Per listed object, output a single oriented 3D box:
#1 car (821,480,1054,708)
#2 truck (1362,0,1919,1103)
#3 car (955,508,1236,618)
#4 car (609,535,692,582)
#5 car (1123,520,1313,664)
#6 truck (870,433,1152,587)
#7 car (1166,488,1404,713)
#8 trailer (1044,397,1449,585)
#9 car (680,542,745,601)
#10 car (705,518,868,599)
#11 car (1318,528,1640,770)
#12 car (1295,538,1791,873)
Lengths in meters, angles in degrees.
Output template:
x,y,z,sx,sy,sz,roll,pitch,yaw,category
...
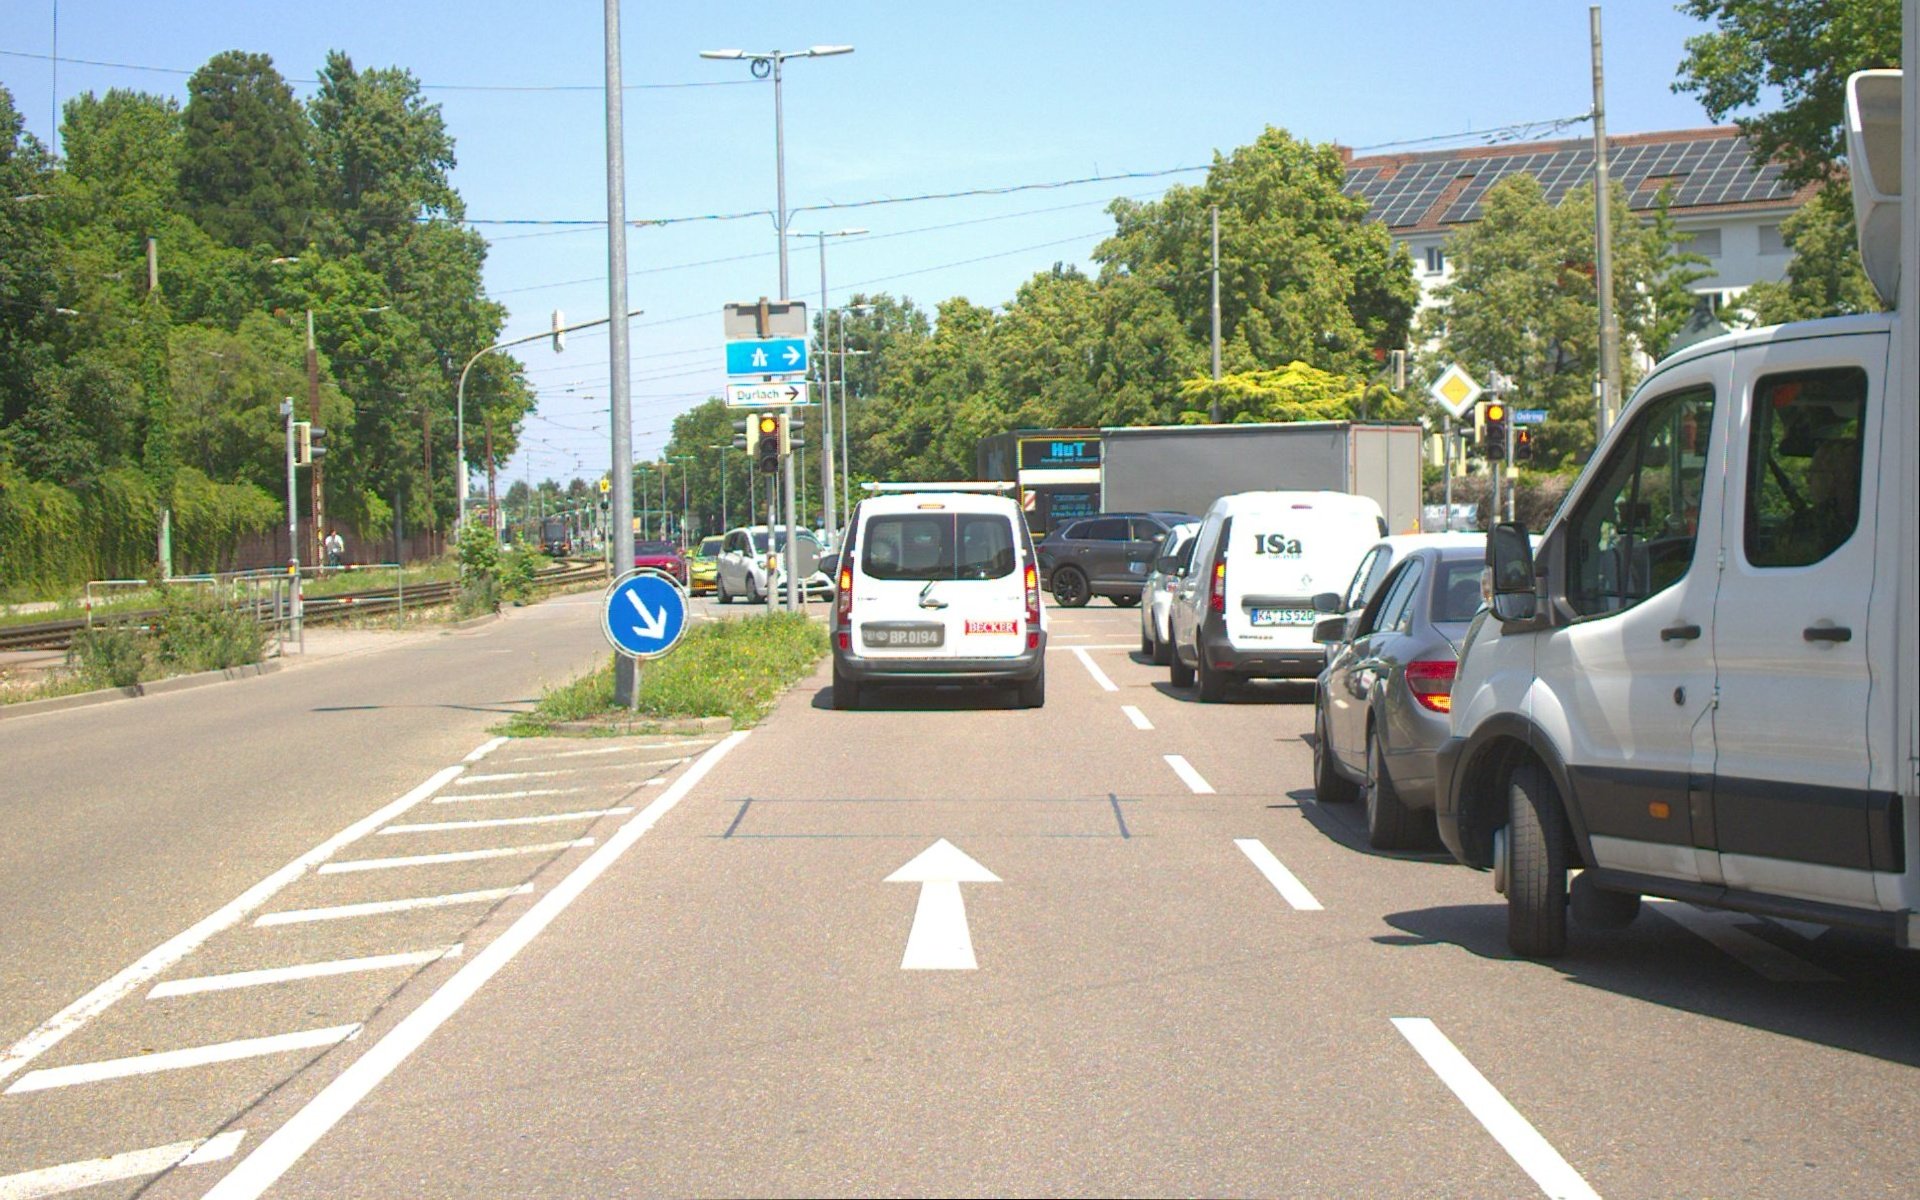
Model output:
x,y,z,sx,sy,sz,roll,pitch,yaw,category
-0.209,-0.088,29.499,1.866,1.829,3.849,0,1,-1,car
4.001,-0.290,9.582,2.419,3.380,7.836,-1,1,-20,truck
2.374,-0.644,59.909,4.528,1.823,1.999,-1,1,15,car
-9.189,-1.251,102.261,1.984,1.354,4.538,-1,1,1,car
2.804,-0.124,38.067,1.756,1.481,4.000,-1,1,0,car
1.138,-2.202,85.526,3.575,3.620,8.810,-1,1,-24,truck
2.794,-0.032,30.282,1.710,1.824,4.014,-1,1,0,car
6.413,-2.392,78.260,8.971,4.037,3.530,0,2,45,trailer
-6.039,-0.721,84.001,1.538,1.374,4.003,-1,1,-4,car
-3.660,-0.879,71.694,1.993,1.612,4.456,-1,1,-23,car
3.324,0.278,22.586,1.607,1.446,3.521,1,1,1,car
2.782,0.427,17.345,1.795,1.444,4.418,-1,1,1,car
